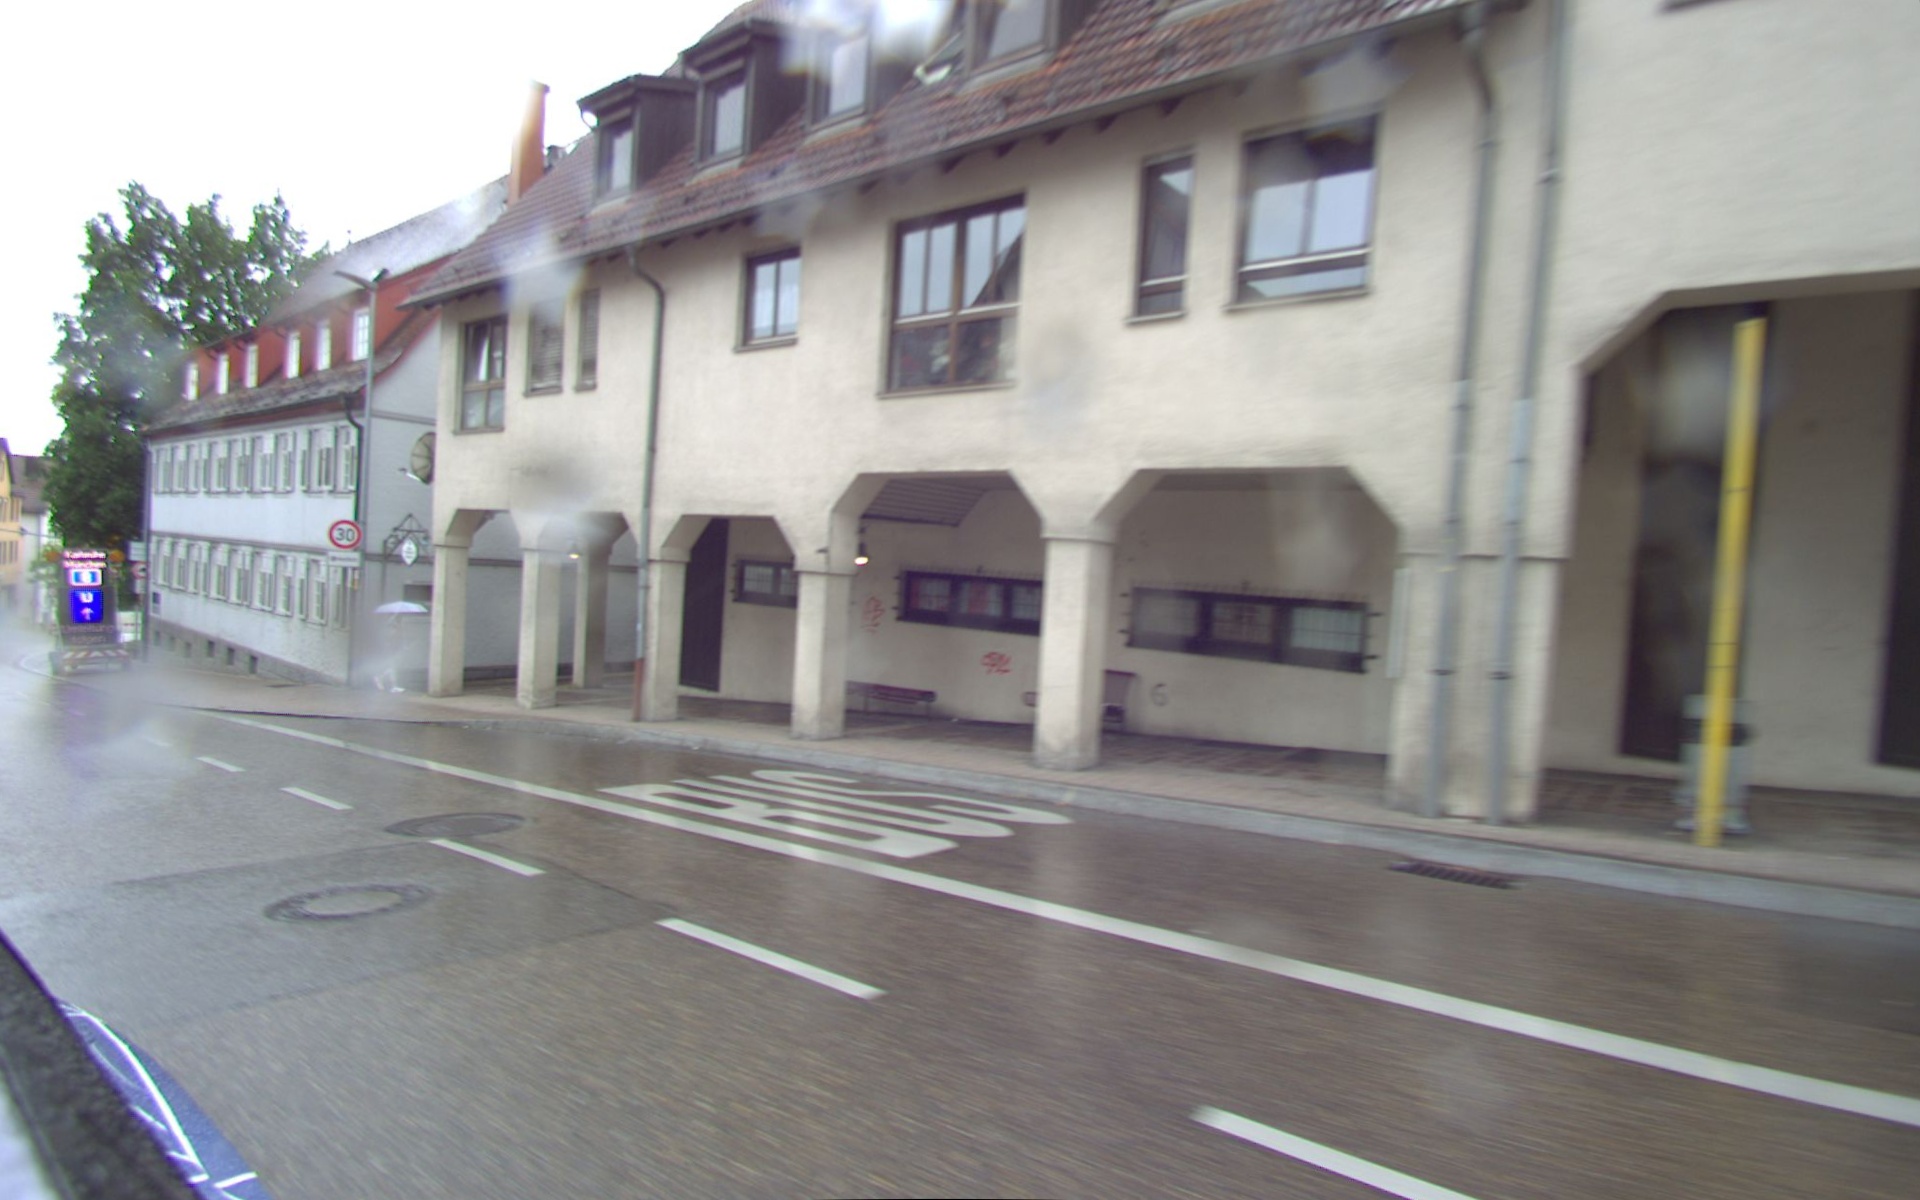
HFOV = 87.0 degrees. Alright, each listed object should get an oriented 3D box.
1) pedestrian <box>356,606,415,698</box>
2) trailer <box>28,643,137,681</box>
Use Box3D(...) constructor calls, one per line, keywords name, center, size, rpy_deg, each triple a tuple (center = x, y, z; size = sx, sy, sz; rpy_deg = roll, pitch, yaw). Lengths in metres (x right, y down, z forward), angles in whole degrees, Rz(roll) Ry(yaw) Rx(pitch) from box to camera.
Box3D(name="pedestrian", center=(-11.329, 1.010, 19.964), size=(0.731, 1.753, 0.684), rpy_deg=(-1, 0, 25))
Box3D(name="trailer", center=(-25.914, 1.776, 29.846), size=(4.477, 0.912, 1.972), rpy_deg=(-1, -1, 43))
